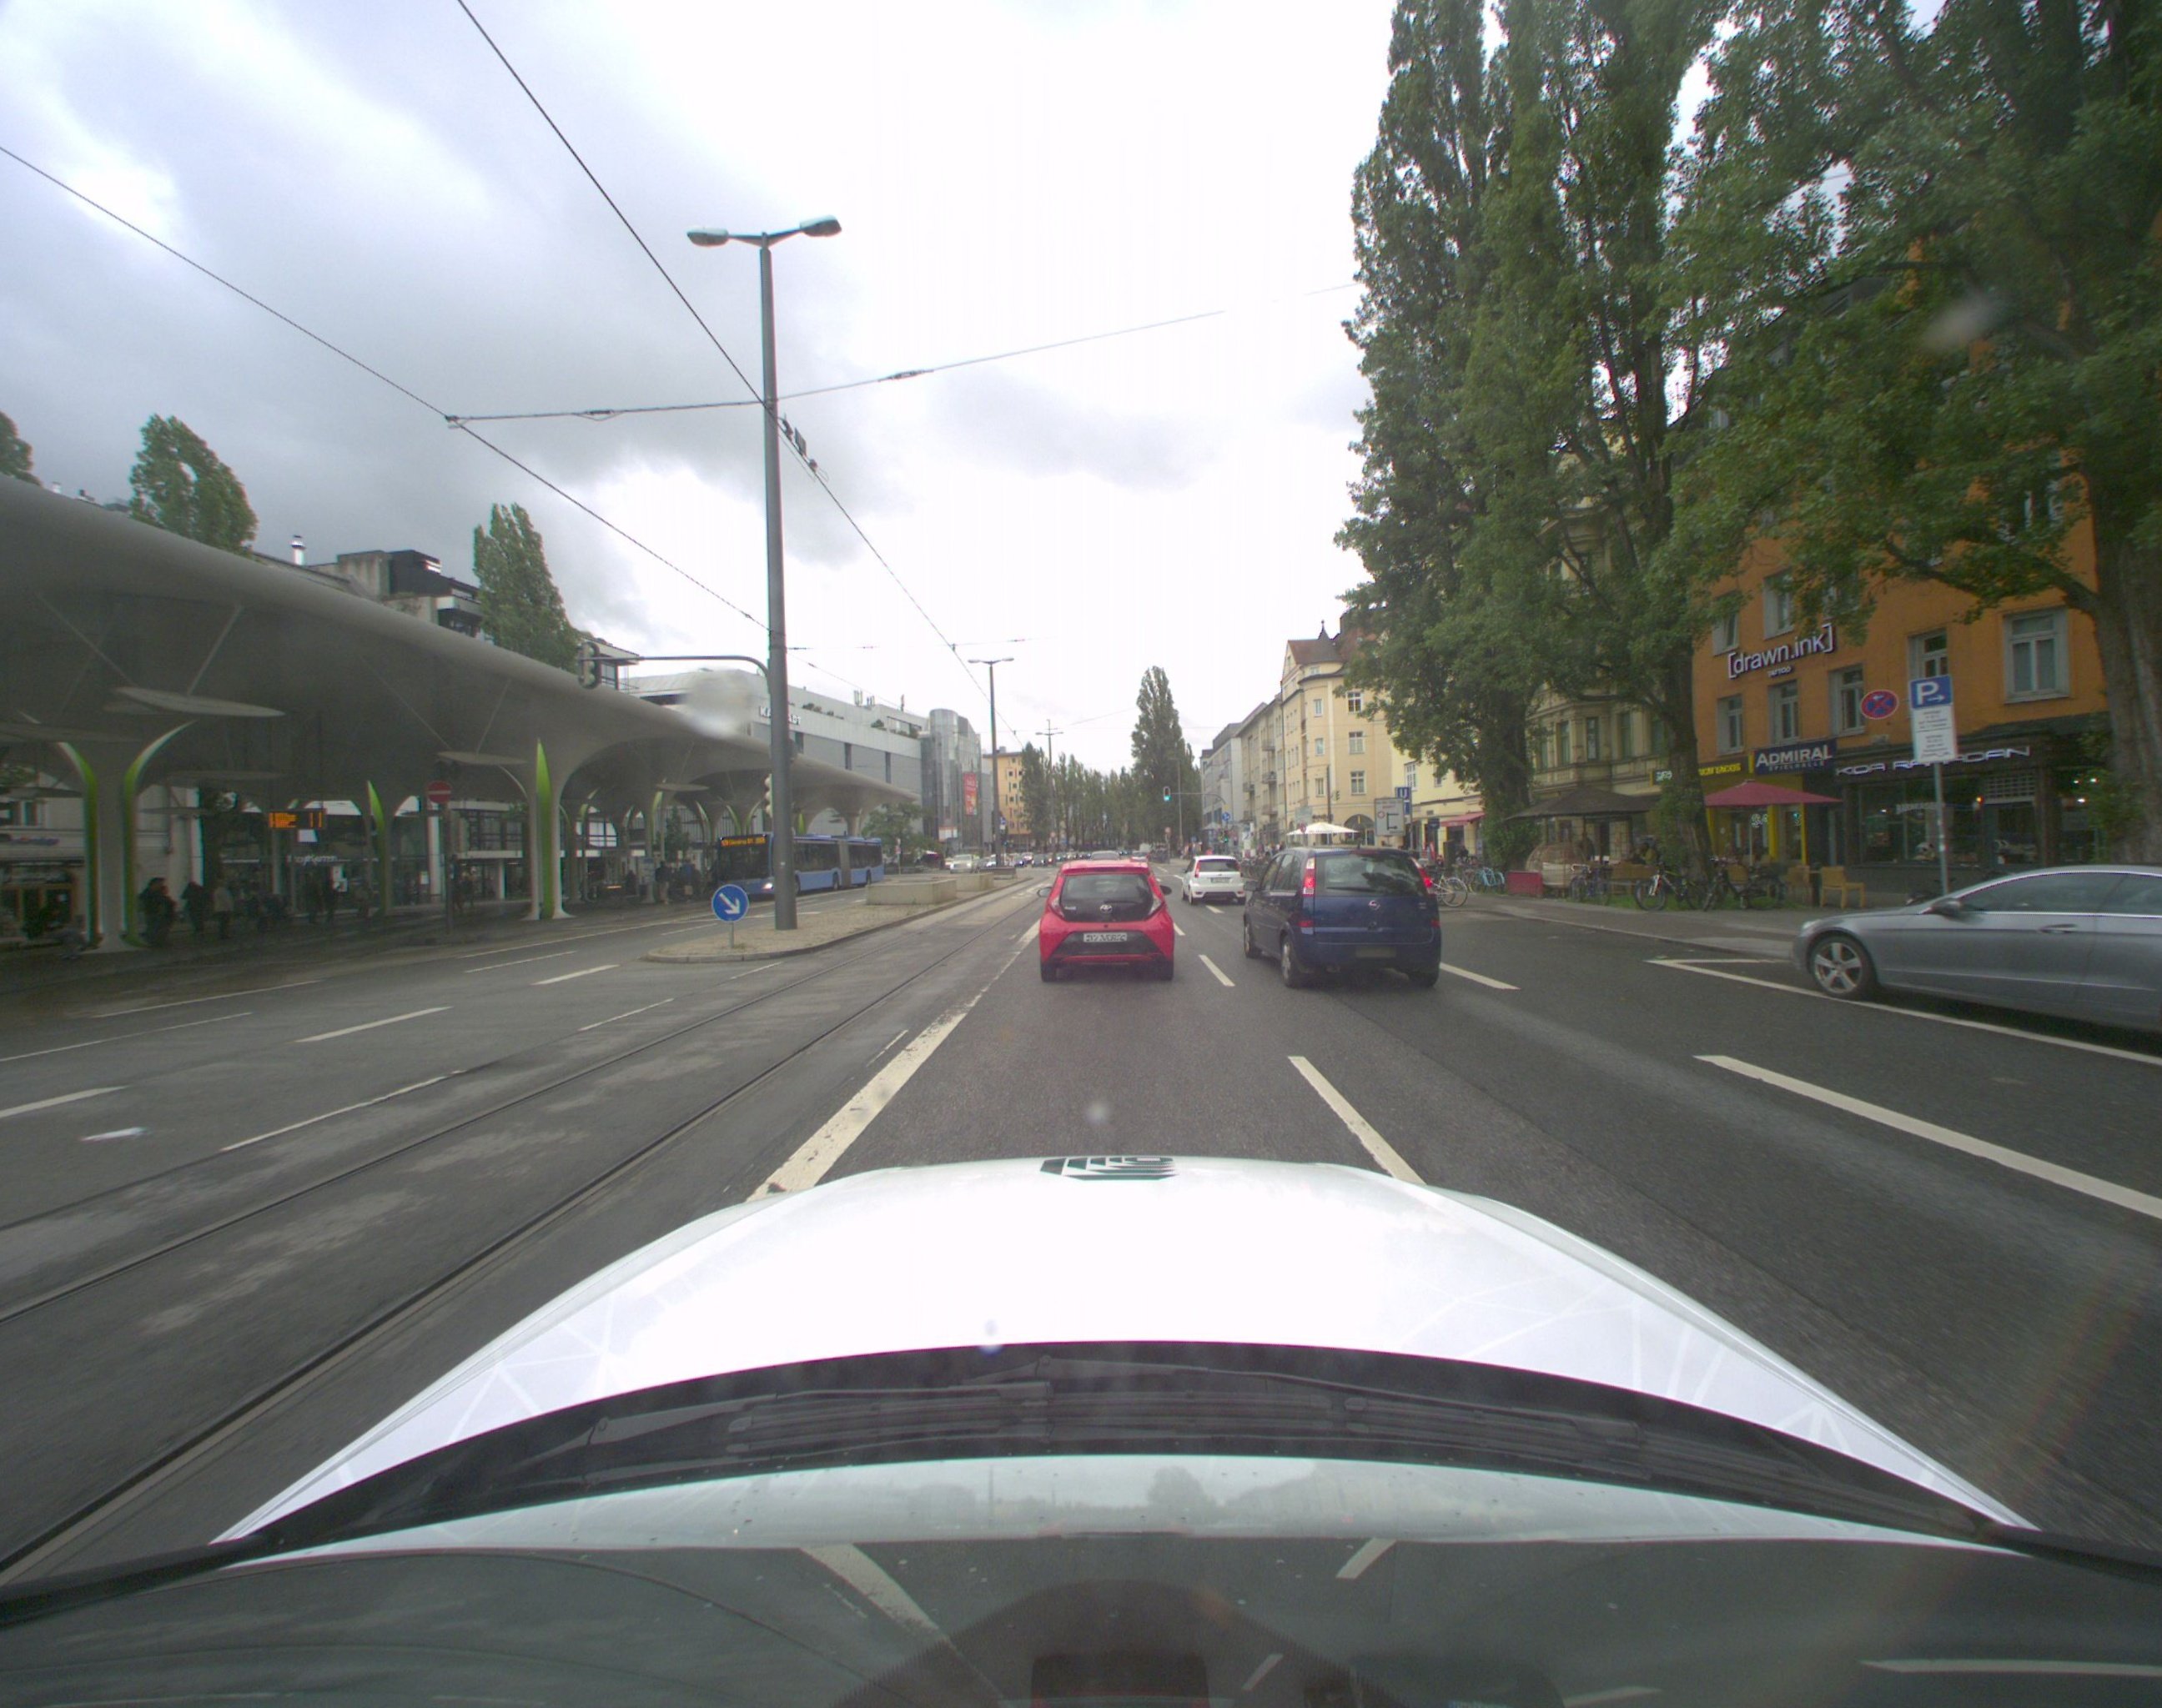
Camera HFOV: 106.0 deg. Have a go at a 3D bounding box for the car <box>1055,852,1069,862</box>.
[{"bbox_3d":[-3.326,0.551,145.164,1.734,1.670,4.741,-3,0,6],"label":"car"}]

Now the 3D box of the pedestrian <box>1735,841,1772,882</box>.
[{"bbox_3d":[20.647,0.223,25.012,0.620,1.218,0.583,-2,0,1],"label":"pedestrian"}]

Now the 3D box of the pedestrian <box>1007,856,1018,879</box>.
[{"bbox_3d":[-4.842,0.934,57.706,0.466,1.618,0.515,-2,0,-45],"label":"pedestrian"}]

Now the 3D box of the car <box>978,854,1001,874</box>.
[{"bbox_3d":[-8.997,0.941,80.285,1.780,1.855,4.217,-3,0,-1],"label":"car"}]

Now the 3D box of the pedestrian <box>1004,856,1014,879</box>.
[{"bbox_3d":[-5.121,0.935,57.993,0.489,1.618,0.552,-2,0,-33],"label":"pedestrian"}]

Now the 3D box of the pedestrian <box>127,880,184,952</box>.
[{"bbox_3d":[-25.482,1.681,22.441,0.714,1.873,0.871,-2,0,-26],"label":"pedestrian"}]

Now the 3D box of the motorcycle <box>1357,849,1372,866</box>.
[{"bbox_3d":[19.061,0.231,54.847,0.484,1.156,1.572,-2,0,2],"label":"motorcycle"}]

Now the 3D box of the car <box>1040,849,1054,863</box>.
[{"bbox_3d":[-4.206,0.221,99.791,1.502,1.534,2.831,-3,1,-7],"label":"car"}]

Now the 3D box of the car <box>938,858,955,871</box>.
[{"bbox_3d":[-17.203,1.316,103.925,1.994,1.536,4.399,-3,1,-10],"label":"car"}]

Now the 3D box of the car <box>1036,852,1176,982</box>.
[{"bbox_3d":[0.367,0.716,10.858,1.598,1.461,3.132,0,0,3],"label":"car"}]

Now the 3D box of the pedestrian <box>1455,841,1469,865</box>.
[{"bbox_3d":[20.504,-0.057,43.810,0.493,1.289,0.552,-2,0,2],"label":"pedestrian"}]

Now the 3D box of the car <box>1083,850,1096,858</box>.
[{"bbox_3d":[1.834,0.074,172.855,1.980,1.534,4.603,-2,0,12],"label":"car"}]

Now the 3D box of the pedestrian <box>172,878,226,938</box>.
[{"bbox_3d":[-27.433,1.674,25.334,0.759,1.789,0.783,-2,0,4],"label":"pedestrian"}]

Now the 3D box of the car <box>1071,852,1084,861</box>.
[{"bbox_3d":[-0.657,0.417,159.291,1.925,1.738,4.599,-1,1,8],"label":"car"}]

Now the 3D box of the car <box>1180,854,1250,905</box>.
[{"bbox_3d":[4.047,0.727,25.107,1.693,1.426,3.498,0,0,2],"label":"car"}]

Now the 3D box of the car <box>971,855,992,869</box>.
[{"bbox_3d":[-11.147,0.863,91.442,1.667,1.378,4.614,-2,0,1],"label":"car"}]

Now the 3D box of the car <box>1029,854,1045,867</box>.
[{"bbox_3d":[-5.117,0.767,94.563,1.544,1.445,3.530,-2,0,-7],"label":"car"}]

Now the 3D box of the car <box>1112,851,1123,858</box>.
[{"bbox_3d":[9.352,0.147,206.856,1.978,1.728,3.933,-2,0,16],"label":"car"}]

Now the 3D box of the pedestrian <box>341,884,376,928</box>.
[{"bbox_3d":[-27.577,1.963,31.111,0.643,1.618,0.701,-2,0,6],"label":"pedestrian"}]

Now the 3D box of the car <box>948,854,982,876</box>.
[{"bbox_3d":[-10.885,0.958,76.848,2.168,1.887,6.156,-2,0,0],"label":"car"}]

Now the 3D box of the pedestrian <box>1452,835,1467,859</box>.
[{"bbox_3d":[22.496,-0.423,48.367,0.543,1.397,0.548,-2,0,-25],"label":"pedestrian"}]

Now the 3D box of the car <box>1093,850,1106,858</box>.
[{"bbox_3d":[4.195,0.004,182.230,1.980,1.691,4.938,1,1,12],"label":"car"}]

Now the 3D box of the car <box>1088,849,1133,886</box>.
[{"bbox_3d":[1.387,0.627,39.158,1.986,1.618,4.002,-2,0,2],"label":"car"}]

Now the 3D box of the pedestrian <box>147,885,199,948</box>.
[{"bbox_3d":[-23.413,1.603,21.008,0.593,1.545,0.634,-2,0,-16],"label":"pedestrian"}]

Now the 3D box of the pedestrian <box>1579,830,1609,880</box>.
[{"bbox_3d":[18.185,0.028,28.892,0.598,1.739,0.666,-2,0,2],"label":"pedestrian"}]

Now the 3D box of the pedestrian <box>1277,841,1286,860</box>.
[{"bbox_3d":[19.338,-0.354,78.612,0.646,1.751,0.637,-3,3,0],"label":"pedestrian"}]

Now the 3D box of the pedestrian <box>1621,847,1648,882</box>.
[{"bbox_3d":[20.916,0.397,30.760,0.581,1.280,0.583,-2,0,1],"label":"pedestrian"}]

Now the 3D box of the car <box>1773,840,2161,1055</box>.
[{"bbox_3d":[8.479,0.635,6.535,1.987,1.440,4.528,-2,0,0],"label":"car"}]

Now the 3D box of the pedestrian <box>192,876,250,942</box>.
[{"bbox_3d":[-23.683,1.500,22.441,0.809,1.727,0.669,-2,0,-15],"label":"pedestrian"}]

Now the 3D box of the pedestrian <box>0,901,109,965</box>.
[{"bbox_3d":[-21.979,1.673,17.441,0.803,1.230,1.277,-2,0,20],"label":"pedestrian"}]

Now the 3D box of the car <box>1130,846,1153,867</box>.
[{"bbox_3d":[5.794,0.228,78.221,1.986,1.838,4.002,-2,0,2],"label":"car"}]

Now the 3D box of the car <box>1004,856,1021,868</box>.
[{"bbox_3d":[-8.221,0.963,97.923,1.672,1.395,4.232,-2,0,0],"label":"car"}]

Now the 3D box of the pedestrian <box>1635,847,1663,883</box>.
[{"bbox_3d":[20.869,0.399,29.922,0.581,1.280,0.583,-2,0,1],"label":"pedestrian"}]

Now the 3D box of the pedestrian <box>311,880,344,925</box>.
[{"bbox_3d":[-27.434,1.766,29.660,0.664,1.564,0.637,-2,0,-24],"label":"pedestrian"}]

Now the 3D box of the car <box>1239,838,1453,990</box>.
[{"bbox_3d":[3.138,0.628,10.385,1.696,1.589,3.558,0,0,2],"label":"car"}]

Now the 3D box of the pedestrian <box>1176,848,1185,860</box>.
[{"bbox_3d":[13.400,0.037,109.363,0.802,1.522,0.804,-2,0,-28],"label":"pedestrian"}]

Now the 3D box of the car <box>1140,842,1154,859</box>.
[{"bbox_3d":[11.161,-0.524,137.789,2.098,2.718,4.807,-2,0,3],"label":"car"}]

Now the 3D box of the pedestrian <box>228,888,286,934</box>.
[{"bbox_3d":[-25.910,1.792,25.618,0.957,1.370,0.843,-2,0,8],"label":"pedestrian"}]

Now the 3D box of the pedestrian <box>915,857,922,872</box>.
[{"bbox_3d":[-19.621,1.228,98.337,0.752,1.773,0.767,-2,0,-21],"label":"pedestrian"}]

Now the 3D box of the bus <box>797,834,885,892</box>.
[{"bbox_3d":[-14.254,0.489,49.120,2.650,3.007,7.517,-4,0,2],"label":"bus"}]

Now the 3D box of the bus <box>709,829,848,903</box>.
[{"bbox_3d":[-14.456,0.512,40.101,2.652,3.007,10.515,-4,0,0],"label":"bus"}]
